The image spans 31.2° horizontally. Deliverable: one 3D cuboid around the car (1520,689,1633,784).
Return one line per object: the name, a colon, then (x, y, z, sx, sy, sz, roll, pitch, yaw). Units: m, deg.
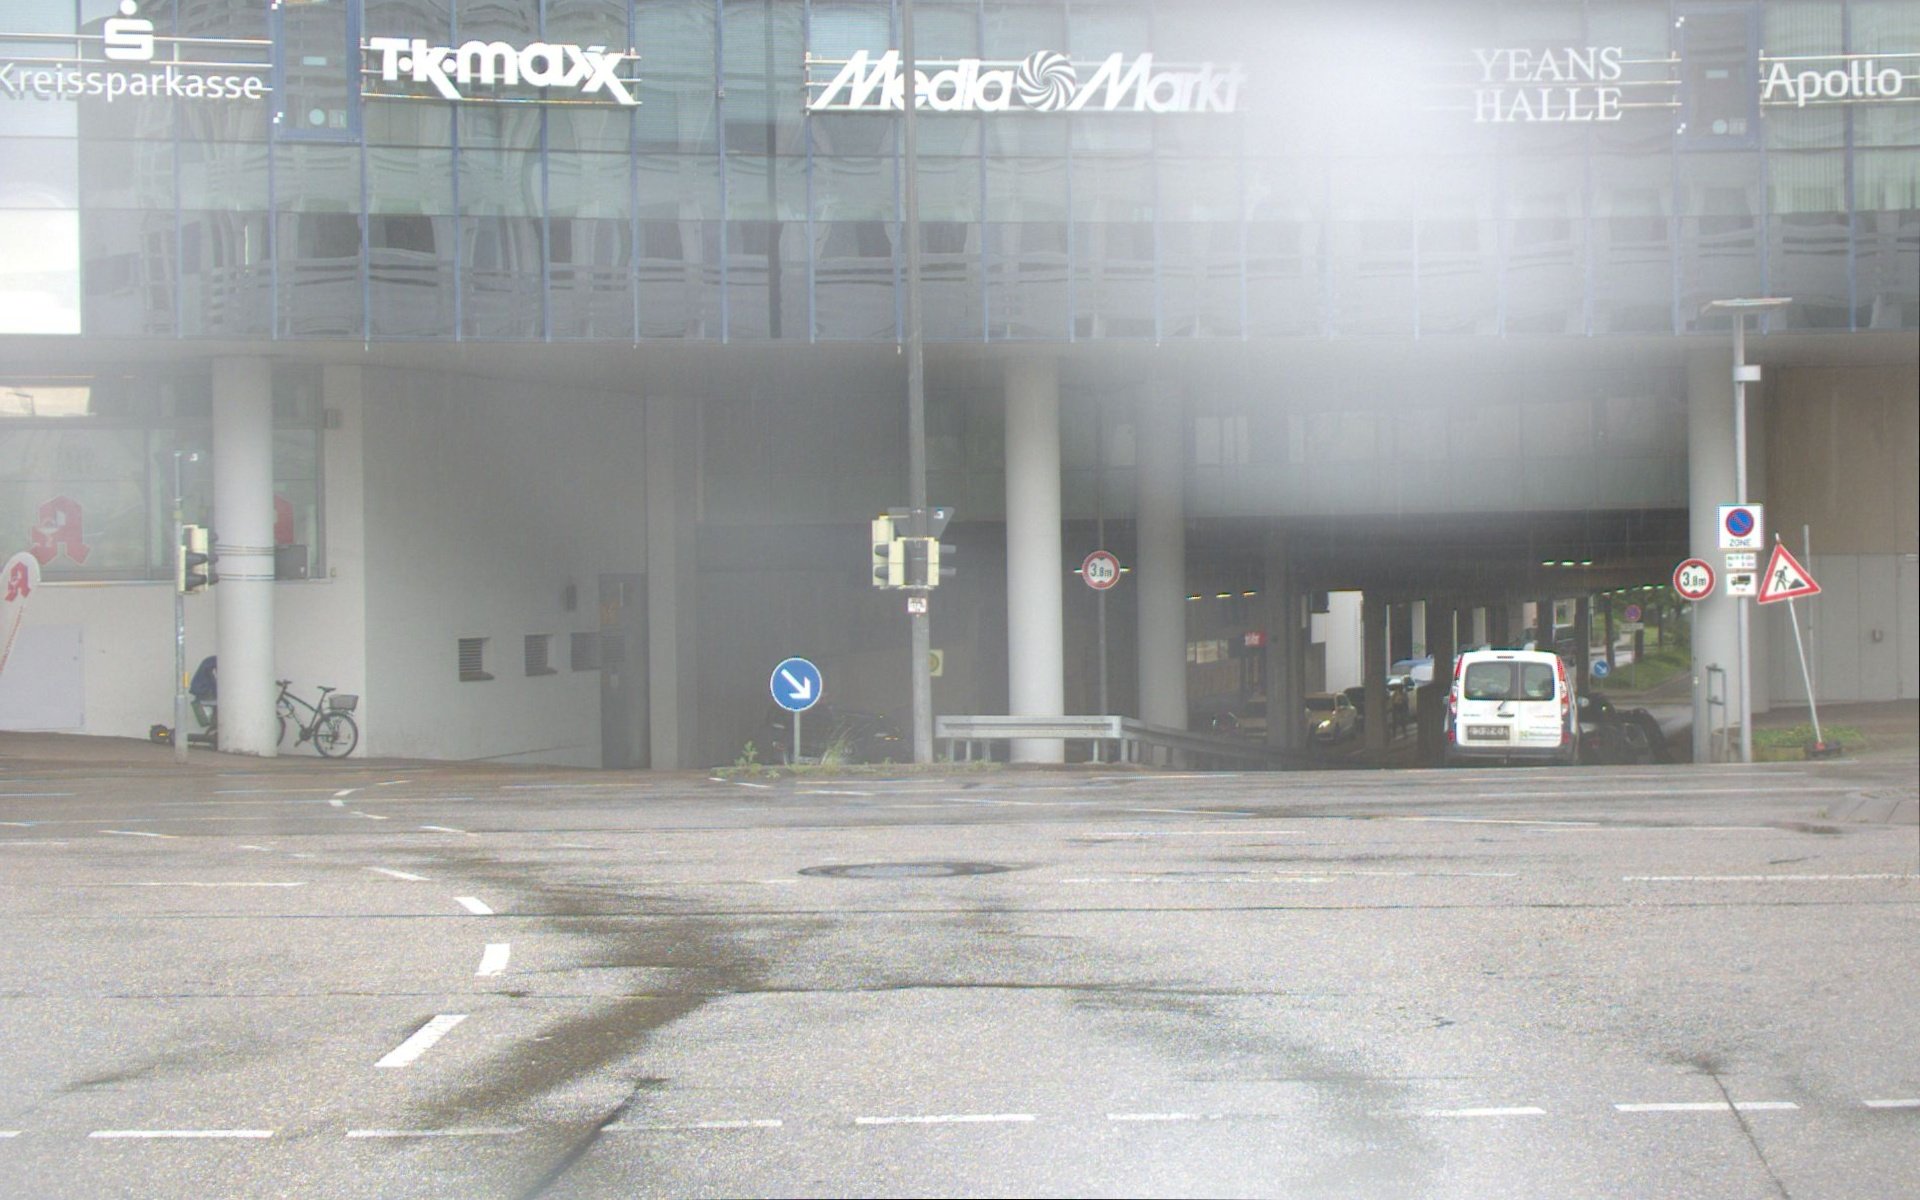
car: (10.979, 2.421, 61.020, 1.634, 1.606, 4.259, -2, -2, 14)

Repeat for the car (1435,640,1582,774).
car: (7.798, 1.494, 48.626, 1.926, 1.791, 4.294, -1, -1, 10)

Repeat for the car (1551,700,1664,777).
car: (12.426, 2.669, 65.841, 1.781, 1.395, 3.996, -1, -3, 15)

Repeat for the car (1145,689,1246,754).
car: (6.278, 3.205, 91.284, 1.916, 1.582, 3.936, -1, -1, 15)

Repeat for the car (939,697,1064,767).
car: (0.921, 2.856, 74.422, 1.772, 1.459, 3.872, -1, -2, 15)

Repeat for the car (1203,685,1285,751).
car: (7.963, 3.286, 96.173, 1.837, 1.722, 3.998, 0, 0, 11)

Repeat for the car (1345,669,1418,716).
car: (14.081, 3.065, 114.592, 1.994, 1.459, 3.998, -1, -1, 13)

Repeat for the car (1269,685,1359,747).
car: (10.508, 3.419, 101.809, 1.995, 1.658, 3.997, 1, 0, 15)

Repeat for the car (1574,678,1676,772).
car: (13.648, 2.536, 70.433, 1.792, 1.764, 3.997, -1, -1, 14)

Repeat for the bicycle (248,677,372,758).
bicycle: (-9.176, 1.665, 48.576, 1.581, 1.014, 0.452, 6, -2, -31)

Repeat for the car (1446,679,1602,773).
car: (9.286, 2.099, 56.394, 1.759, 1.459, 3.938, -2, -3, 21)

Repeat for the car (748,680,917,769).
car: (-2.282, 2.286, 62.553, 1.894, 1.465, 4.023, -1, -4, 16)

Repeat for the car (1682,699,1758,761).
car: (20.114, 3.416, 90.894, 1.889, 1.486, 3.838, 1, 0, 13)

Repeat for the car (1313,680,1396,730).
car: (12.590, 3.319, 109.506, 1.995, 1.459, 3.997, -1, -1, 15)

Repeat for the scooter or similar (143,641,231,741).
scooter or similar: (-10.840, 1.274, 48.202, 1.166, 1.368, 0.489, 1, 0, -15)
